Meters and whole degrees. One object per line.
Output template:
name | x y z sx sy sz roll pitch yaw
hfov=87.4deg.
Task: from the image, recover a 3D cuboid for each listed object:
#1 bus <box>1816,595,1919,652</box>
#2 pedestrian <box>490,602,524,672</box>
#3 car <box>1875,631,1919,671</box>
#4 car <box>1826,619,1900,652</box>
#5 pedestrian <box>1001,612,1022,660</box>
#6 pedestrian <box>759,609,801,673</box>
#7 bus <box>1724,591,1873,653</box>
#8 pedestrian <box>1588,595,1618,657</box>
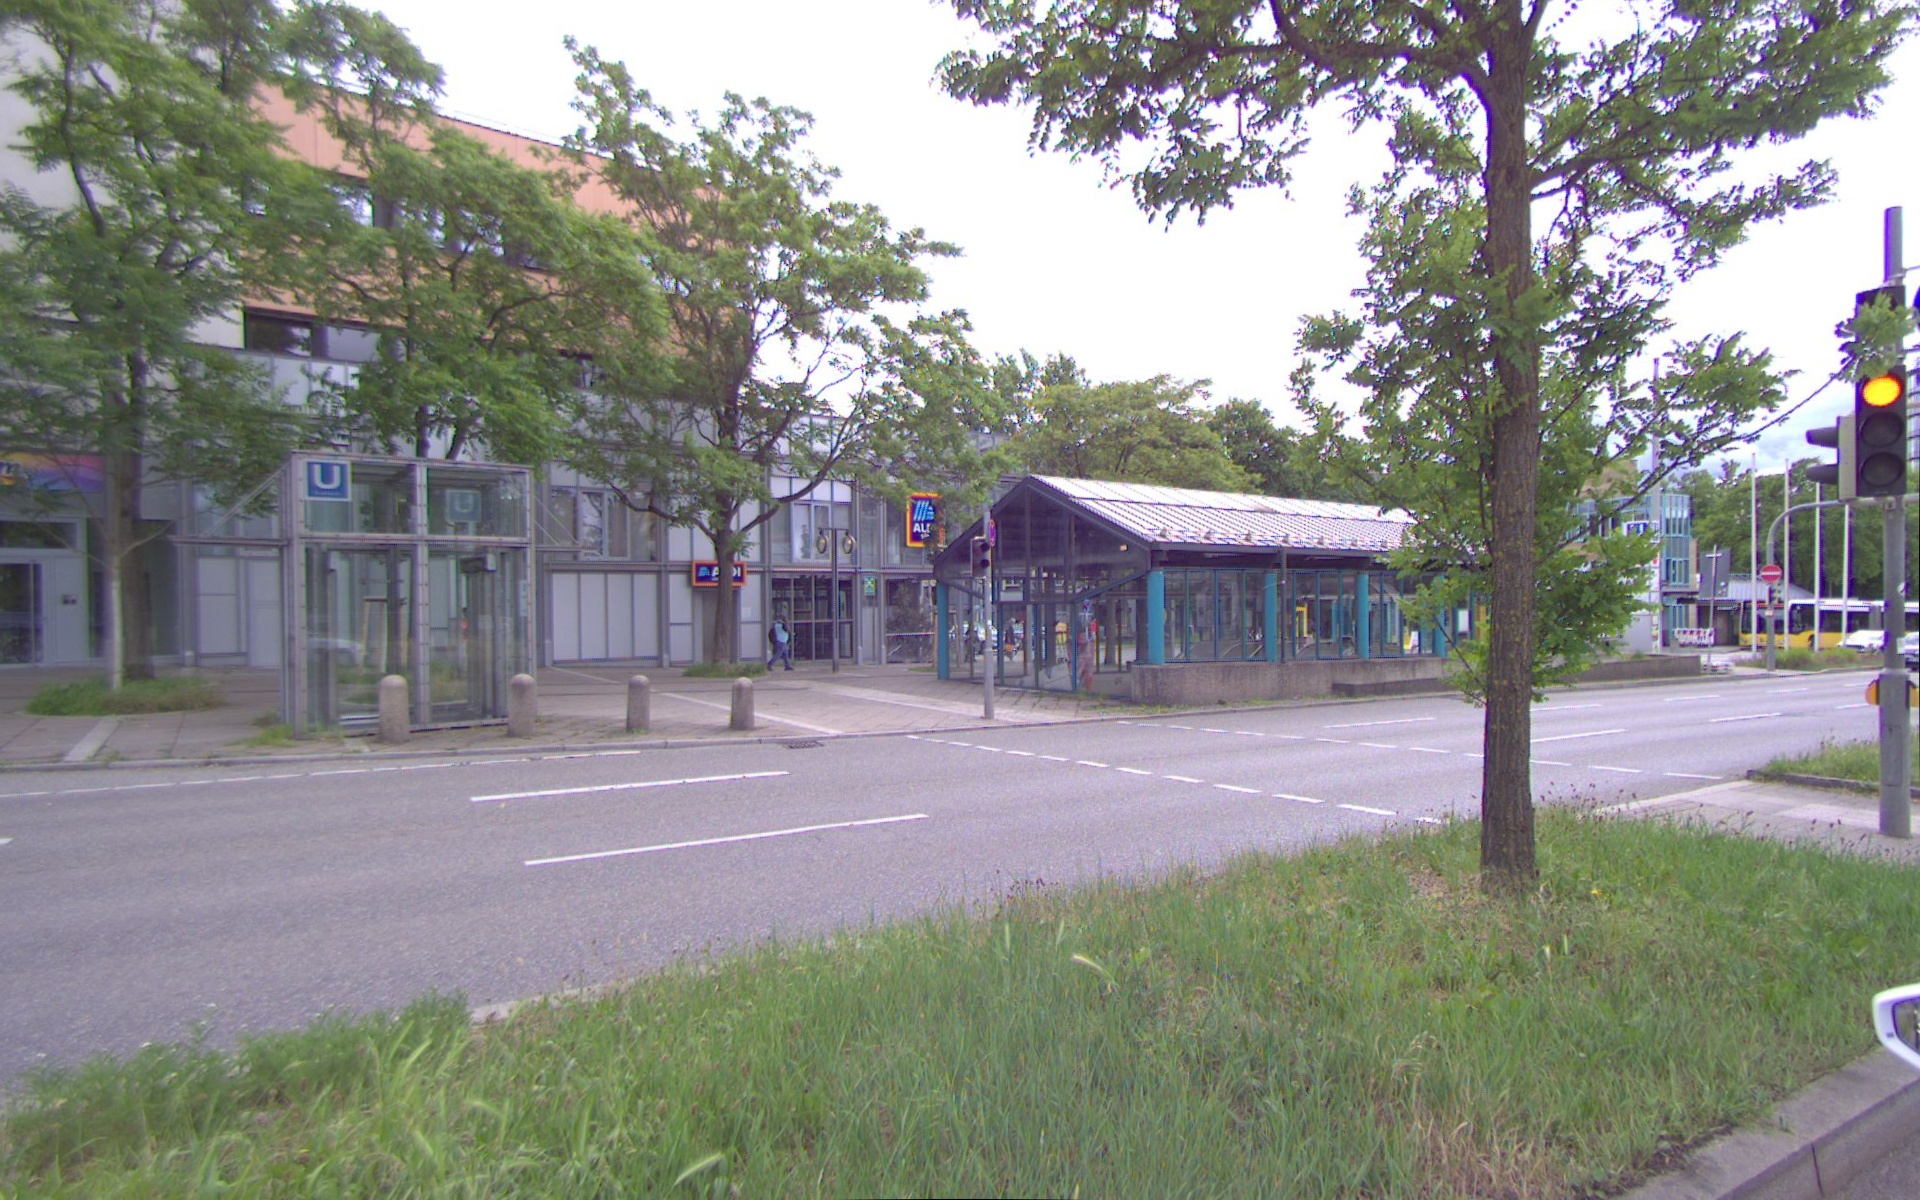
bus | 59.420 1.567 64.566 10.592 3.476 2.822 1 -1 -26
pedestrian | -11.544 0.938 25.599 0.674 1.750 0.560 1 -1 -39
car | 37.822 1.973 39.291 3.955 1.505 1.983 1 -1 -32
car | 48.465 1.912 53.889 3.951 1.684 1.798 1 -1 -29
pedestrian | 1.907 1.324 37.383 0.693 1.739 0.772 2 1 1
pedestrian | -5.117 1.145 28.557 0.879 1.739 0.764 1 2 -39
bus | 50.075 1.362 59.867 10.592 3.476 2.822 1 -1 -26
pedestrian | 21.648 0.873 33.818 0.639 2.040 0.677 1 -1 -34
